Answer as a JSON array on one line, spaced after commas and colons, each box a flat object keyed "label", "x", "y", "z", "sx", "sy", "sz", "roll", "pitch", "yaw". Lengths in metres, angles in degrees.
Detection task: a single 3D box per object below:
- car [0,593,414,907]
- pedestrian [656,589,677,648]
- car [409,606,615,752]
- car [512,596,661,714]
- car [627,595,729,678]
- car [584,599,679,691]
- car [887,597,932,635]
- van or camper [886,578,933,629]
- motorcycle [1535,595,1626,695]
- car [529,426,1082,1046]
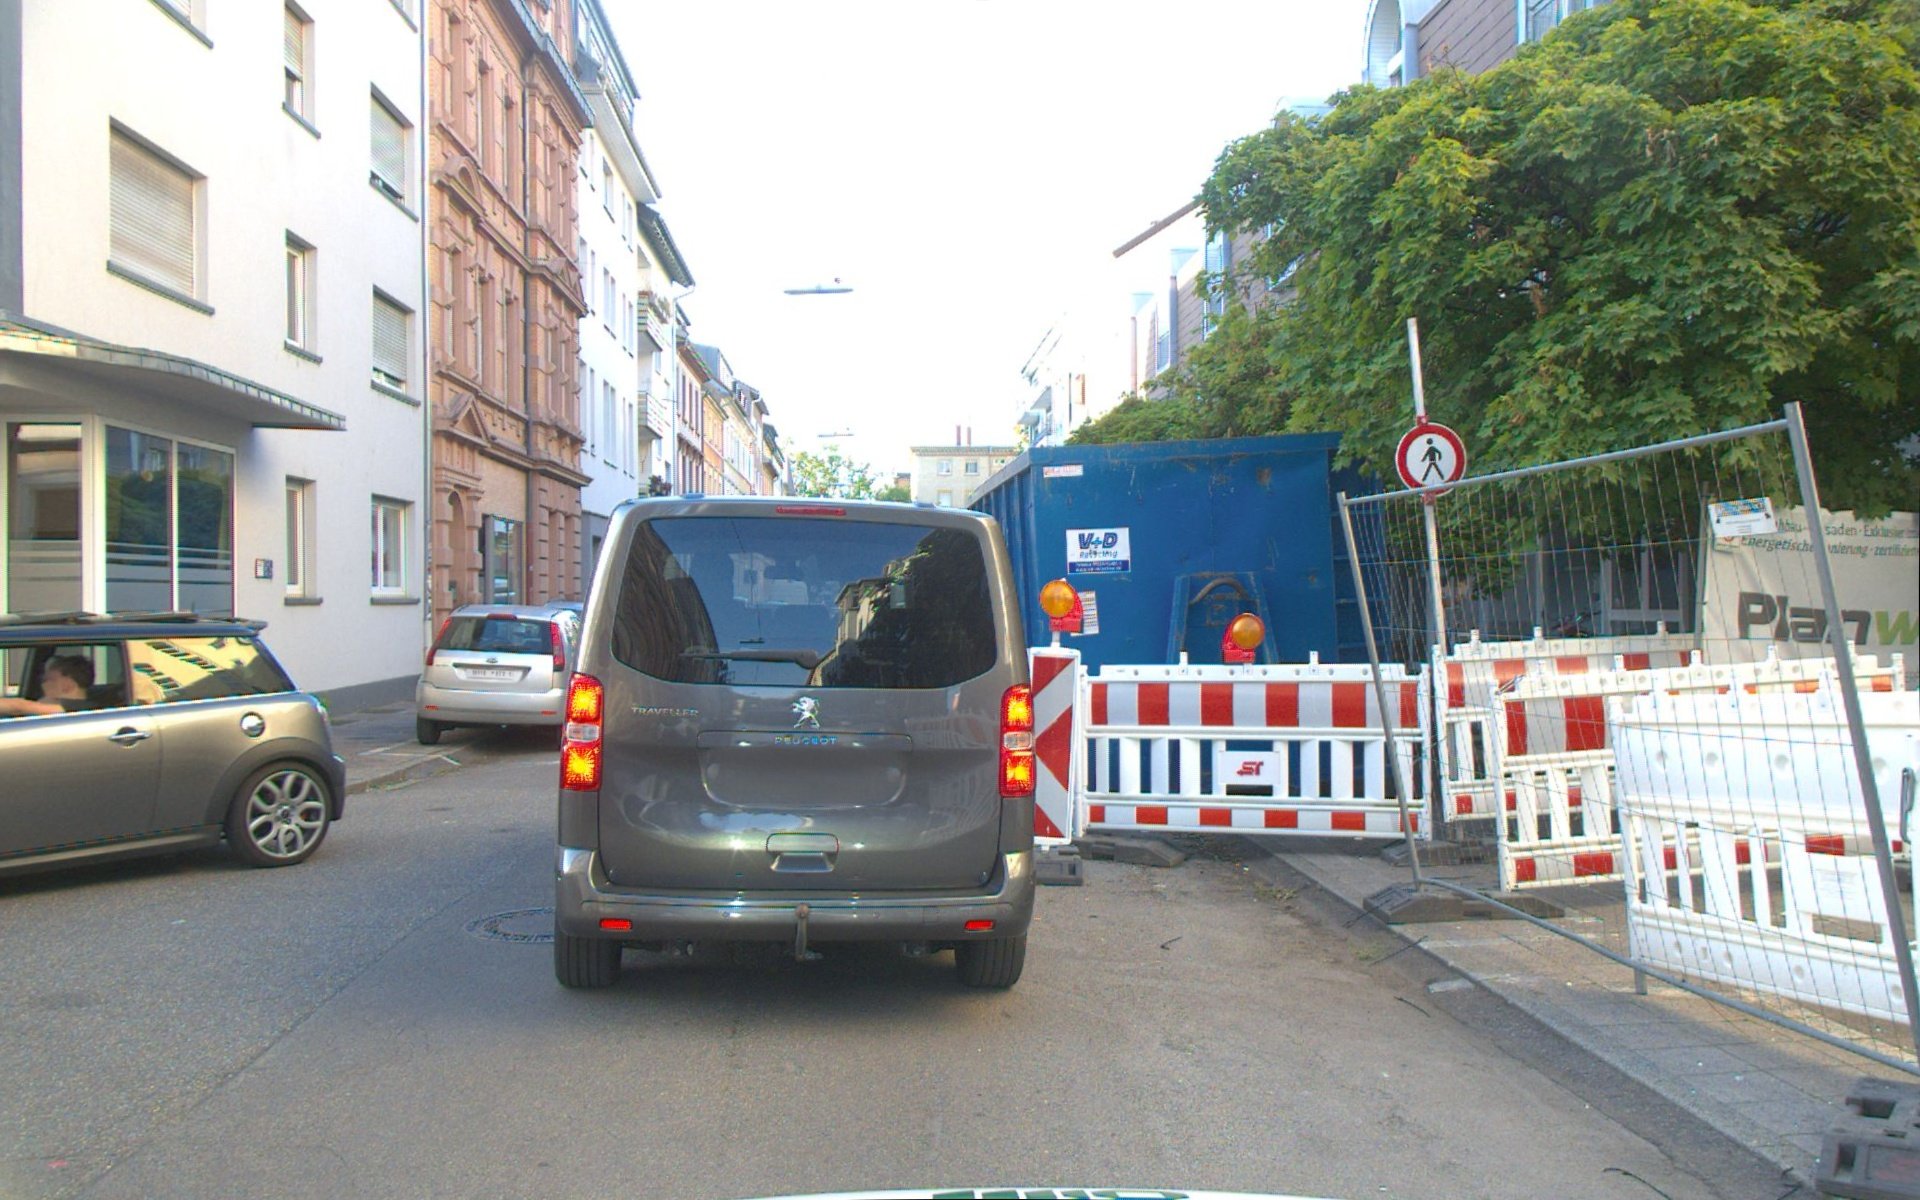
[{"label": "car", "x": -5.201, "y": 0.720, "z": 8.867, "sx": 1.959, "sy": 1.512, "sz": 3.988, "roll": 0, "pitch": 0, "yaw": 34}, {"label": "pedestrian", "x": -8.296, "y": 0.523, "z": 46.796, "sx": 0.485, "sy": 1.667, "sz": 0.665, "roll": 1, "pitch": -1, "yaw": -4}, {"label": "car", "x": -4.893, "y": 0.799, "z": 18.490, "sx": 1.600, "sy": 1.455, "sz": 3.551, "roll": 0, "pitch": 0, "yaw": -5}, {"label": "car", "x": -5.325, "y": 0.737, "z": 23.950, "sx": 1.525, "sy": 1.535, "sz": 3.594, "roll": 2, "pitch": 0, "yaw": -4}, {"label": "car", "x": -5.845, "y": 0.724, "z": 34.643, "sx": 1.706, "sy": 1.627, "sz": 4.011, "roll": 0, "pitch": 0, "yaw": -4}, {"label": "car", "x": -6.002, "y": 0.793, "z": 30.411, "sx": 1.368, "sy": 1.616, "sz": 2.791, "roll": 0, "pitch": 0, "yaw": -4}, {"label": "car", "x": -2.290, "y": 0.714, "z": 74.560, "sx": 1.689, "sy": 1.640, "sz": 4.582, "roll": 0, "pitch": 0, "yaw": -6}, {"label": "van or camper", "x": -2.805, "y": 0.189, "z": 90.386, "sx": 2.059, "sy": 2.647, "sz": 7.504, "roll": -1, "pitch": 0, "yaw": -5}, {"label": "motorcycle", "x": 8.207, "y": 0.576, "z": 21.965, "sx": 0.851, "sy": 1.244, "sz": 2.459, "roll": -1, "pitch": -1, "yaw": 14}, {"label": "car", "x": -0.663, "y": 0.448, "z": 7.681, "sx": 1.821, "sy": 2.049, "sz": 3.997, "roll": -2, "pitch": 0, "yaw": -4}]
